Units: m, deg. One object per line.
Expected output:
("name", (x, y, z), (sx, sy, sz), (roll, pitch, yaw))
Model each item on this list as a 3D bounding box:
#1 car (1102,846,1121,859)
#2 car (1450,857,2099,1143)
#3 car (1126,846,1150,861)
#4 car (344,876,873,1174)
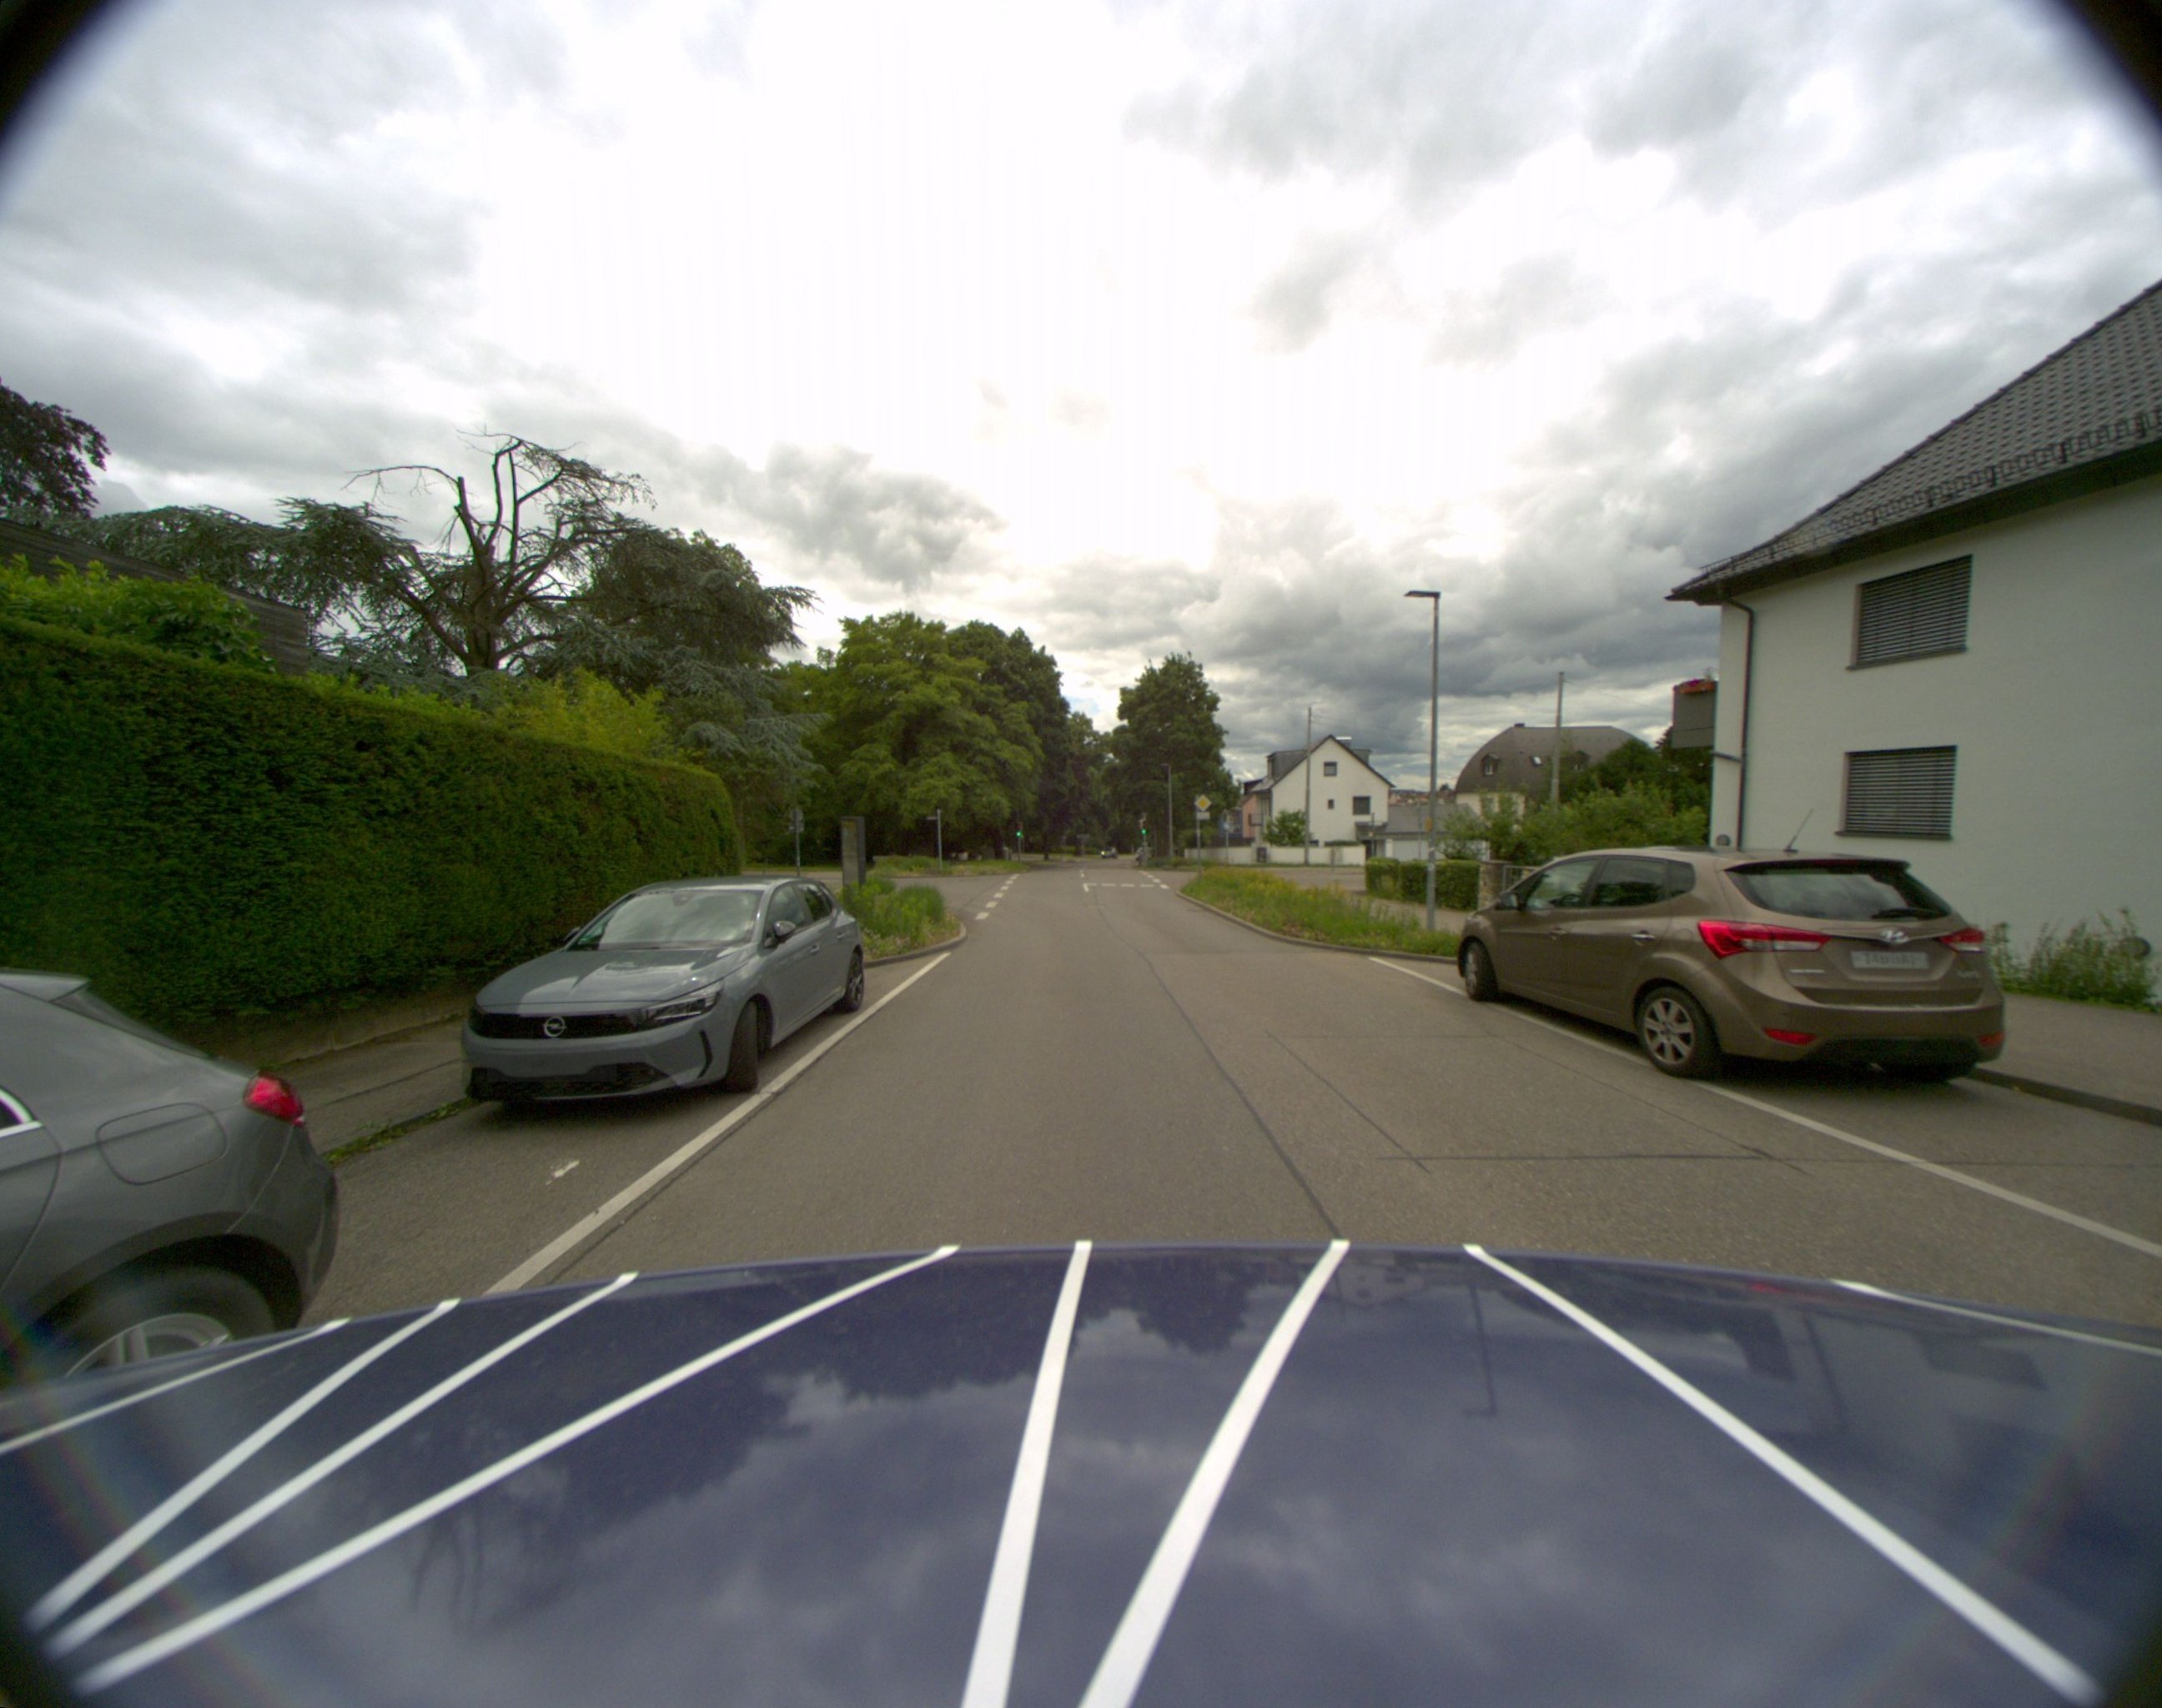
("car", (4.060, -0.190, 99.501), (1.566, 1.504, 3.400), (2, 3, 19))
("car", (4.912, 0.853, 6.296), (1.882, 1.576, 3.871), (-1, 1, 1))
("car", (6.496, -0.093, 86.541), (1.996, 1.543, 4.003), (2, 3, 15))
("car", (-3.190, 1.018, 6.271), (1.860, 1.455, 3.999), (-2, 1, -1))
